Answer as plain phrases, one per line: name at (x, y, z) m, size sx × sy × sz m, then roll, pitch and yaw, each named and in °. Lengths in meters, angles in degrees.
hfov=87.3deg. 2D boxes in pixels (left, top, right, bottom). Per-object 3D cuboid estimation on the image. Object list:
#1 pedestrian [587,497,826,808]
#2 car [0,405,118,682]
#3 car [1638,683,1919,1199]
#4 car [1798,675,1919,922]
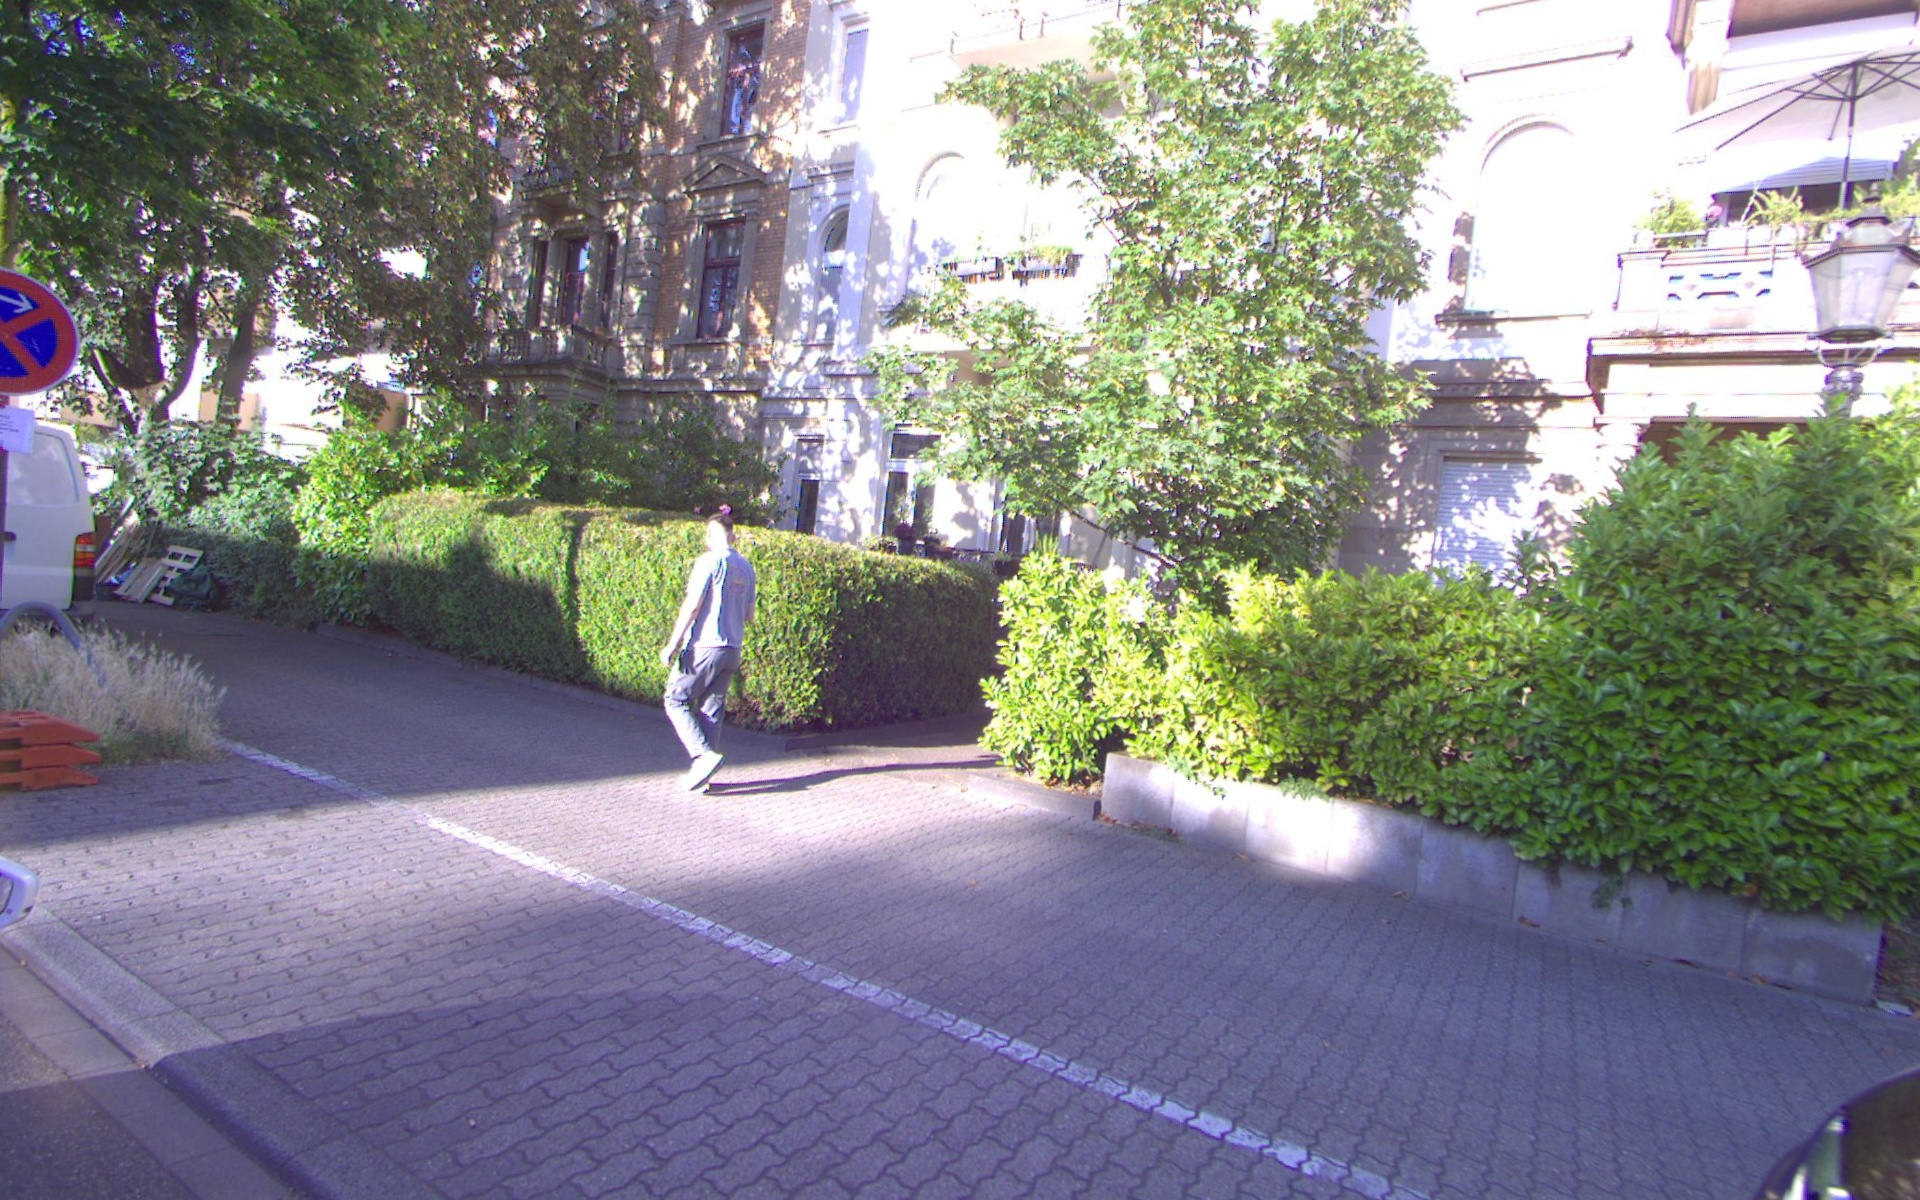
pedestrian at (-1.645, 0.316, 6.579) m, size 1.070 × 1.796 × 0.822 m, roll 7°, pitch 1°, yaw 28°
car at (-9.481, -0.674, 8.636) m, size 4.562 × 2.129 × 1.905 m, roll 7°, pitch 0°, yaw 30°
car at (3.156, 1.114, 0.457) m, size 4.538 × 1.439 × 1.757 m, roll 7°, pitch 2°, yaw 32°
car at (7.002, 1.441, 5.576) m, size 1.758 × 1.531 × 4.249 m, roll 7°, pitch 2°, yaw 14°
